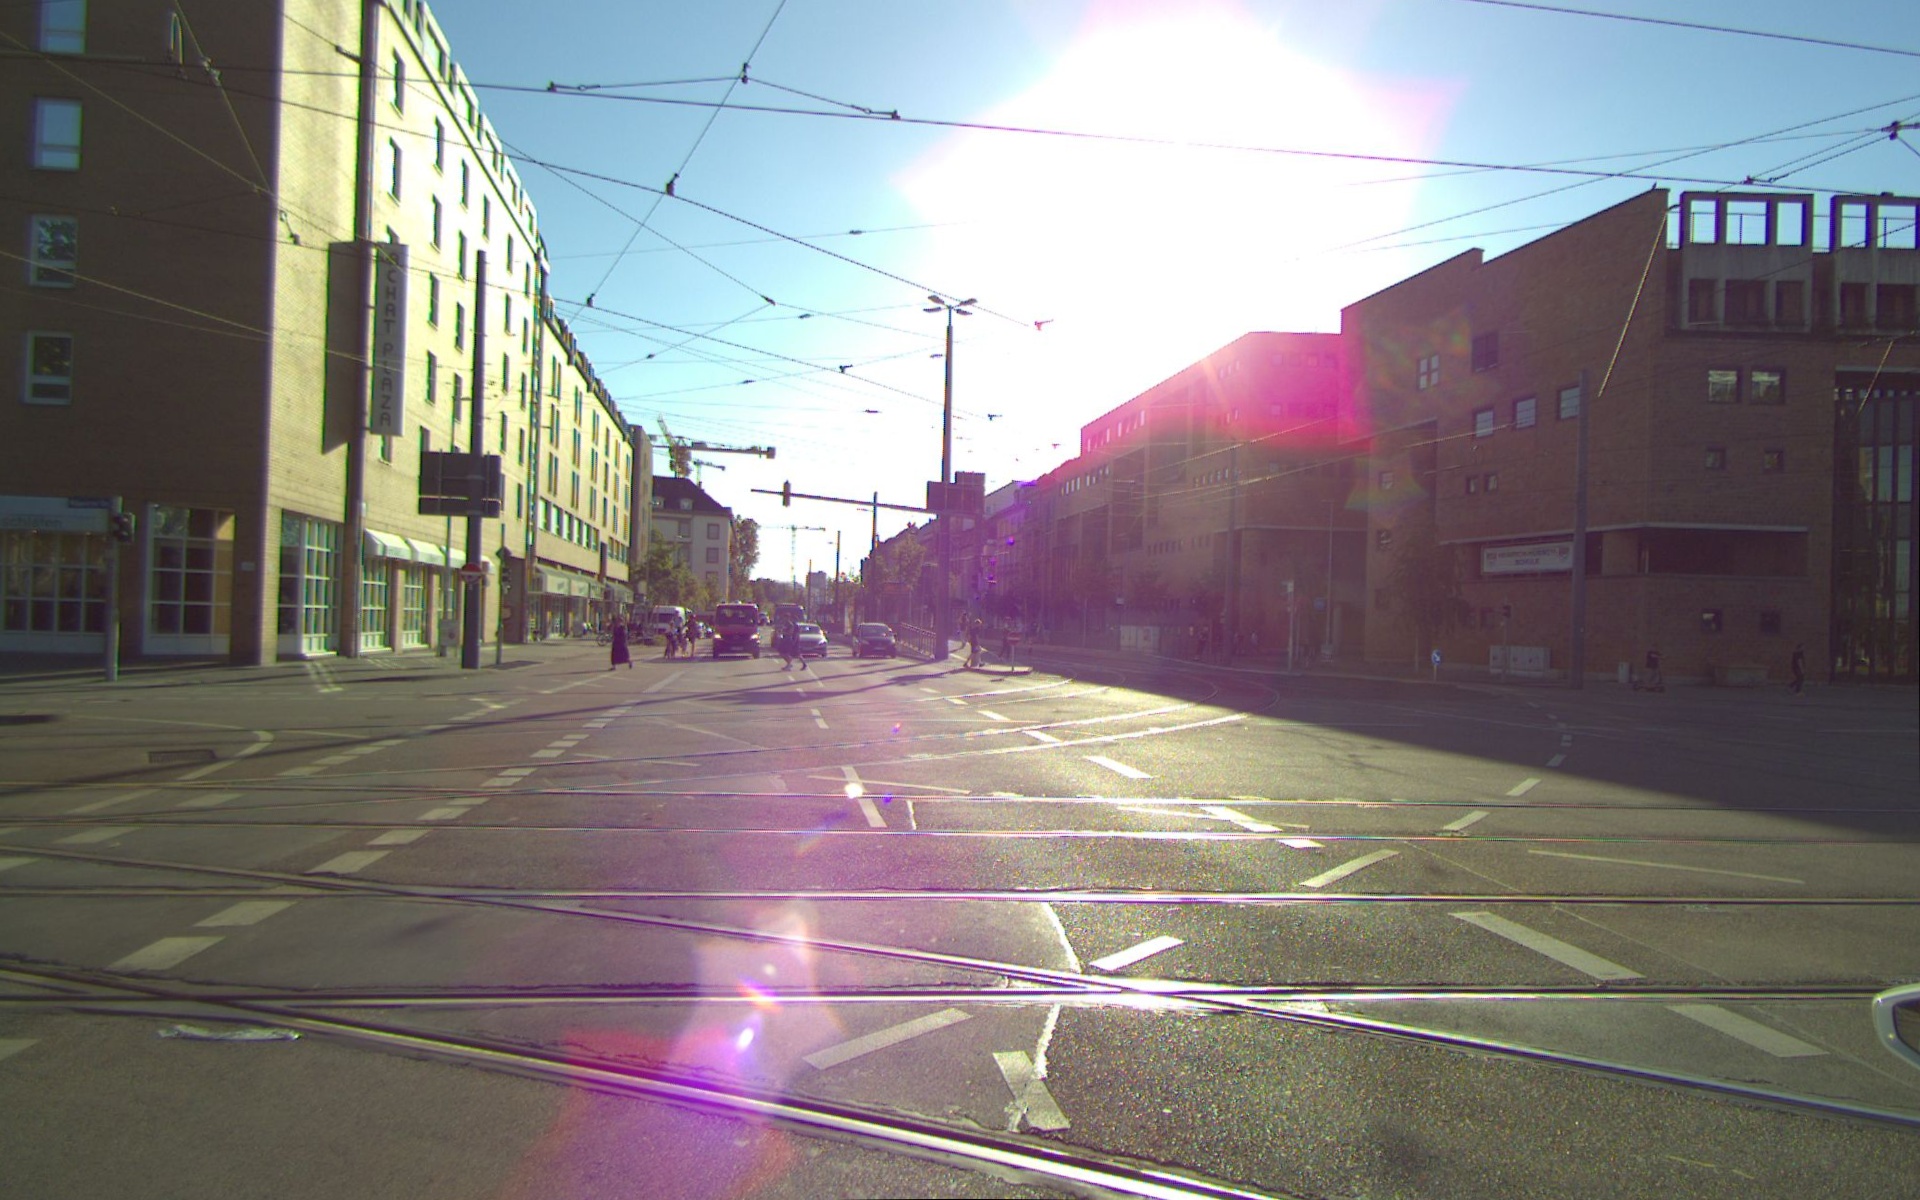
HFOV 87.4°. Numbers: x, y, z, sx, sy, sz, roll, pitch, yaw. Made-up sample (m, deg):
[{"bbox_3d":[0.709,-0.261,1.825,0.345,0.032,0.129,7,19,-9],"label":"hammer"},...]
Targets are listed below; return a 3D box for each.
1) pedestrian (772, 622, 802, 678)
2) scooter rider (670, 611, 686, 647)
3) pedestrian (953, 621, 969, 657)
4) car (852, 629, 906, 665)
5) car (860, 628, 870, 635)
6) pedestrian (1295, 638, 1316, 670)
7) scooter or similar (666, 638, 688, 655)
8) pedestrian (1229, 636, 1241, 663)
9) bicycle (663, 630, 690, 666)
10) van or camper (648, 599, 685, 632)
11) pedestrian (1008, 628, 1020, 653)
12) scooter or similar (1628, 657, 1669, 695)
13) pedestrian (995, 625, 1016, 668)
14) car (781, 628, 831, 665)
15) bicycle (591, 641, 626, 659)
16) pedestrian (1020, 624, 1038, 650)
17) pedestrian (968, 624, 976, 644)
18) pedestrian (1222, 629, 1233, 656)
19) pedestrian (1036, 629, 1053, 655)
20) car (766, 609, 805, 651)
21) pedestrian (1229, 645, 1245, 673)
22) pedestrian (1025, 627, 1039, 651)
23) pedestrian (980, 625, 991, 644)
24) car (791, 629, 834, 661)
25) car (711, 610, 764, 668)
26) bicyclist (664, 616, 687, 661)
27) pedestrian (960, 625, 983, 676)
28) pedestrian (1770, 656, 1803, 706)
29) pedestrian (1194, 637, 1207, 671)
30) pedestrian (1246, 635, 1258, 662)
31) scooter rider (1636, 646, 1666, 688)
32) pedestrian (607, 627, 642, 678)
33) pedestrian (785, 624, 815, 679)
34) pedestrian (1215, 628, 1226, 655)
[{"bbox_3d":[-5.457,1.572,31.681,0.628,1.740,0.778,1,-1,15],"label":"pedestrian"},{"bbox_3d":[-14.164,1.456,50.457,0.523,1.778,0.571,1,-1,11],"label":"scooter rider"},{"bbox_3d":[0.057,1.866,47.993,0.667,1.706,0.575,2,-1,-8],"label":"pedestrian"},{"bbox_3d":[-3.710,2.106,45.492,1.733,1.467,3.988,2,-1,-14],"label":"car"},{"bbox_3d":[-21.246,6.995,223.741,1.823,1.477,4.148,2,-1,-11],"label":"car"},{"bbox_3d":[17.033,2.664,49.531,0.702,1.559,0.851,1,-1,-4],"label":"pedestrian"},{"bbox_3d":[-14.191,2.323,50.393,0.534,0.842,1.240,1,-2,12],"label":"scooter or similar"},{"bbox_3d":[18.150,3.264,66.362,0.527,1.779,0.695,1,-1,-2],"label":"pedestrian"},{"bbox_3d":[-11.824,1.985,41.908,0.917,1.461,2.098,2,-2,-13],"label":"bicycle"},{"bbox_3d":[-20.883,1.077,71.599,1.965,2.199,5.604,2,0,-11],"label":"van or camper"},{"bbox_3d":[3.714,2.792,68.922,0.648,1.694,0.670,2,-1,-16],"label":"pedestrian"},{"bbox_3d":[24.944,2.753,36.389,0.521,1.335,1.127,2,-2,-21],"label":"scooter or similar"},{"bbox_3d":[1.841,1.878,40.696,0.630,1.740,0.776,2,-1,-11],"label":"pedestrian"},{"bbox_3d":[-7.120,2.111,46.272,1.860,1.553,3.988,2,-1,-14],"label":"car"},{"bbox_3d":[-19.731,2.795,56.365,1.695,0.993,0.642,1,-2,6],"label":"bicycle"},{"bbox_3d":[4.700,2.516,68.366,0.876,1.694,1.093,2,-1,-14],"label":"pedestrian"},{"bbox_3d":[1.065,2.956,87.767,0.498,1.755,0.650,2,-1,-13],"label":"pedestrian"},{"bbox_3d":[18.058,2.878,67.842,0.528,1.779,0.421,2,-1,-9],"label":"pedestrian"},{"bbox_3d":[5.531,2.762,65.898,0.876,1.694,0.670,2,-1,-14],"label":"pedestrian"},{"bbox_3d":[-10.722,1.829,61.539,2.017,2.389,4.908,2,-2,-13],"label":"car"},{"bbox_3d":[18.029,3.833,65.362,0.726,1.779,0.690,2,-2,-29],"label":"pedestrian"},{"bbox_3d":[4.745,2.556,66.037,0.672,1.503,0.827,2,-2,-11],"label":"pedestrian"},{"bbox_3d":[2.137,2.881,84.186,0.663,1.582,0.904,2,-1,-13],"label":"pedestrian"},{"bbox_3d":[-7.972,2.403,53.958,1.860,1.553,3.988,2,-1,-14],"label":"car"},{"bbox_3d":[-9.710,1.661,43.622,2.050,2.319,5.250,2,-2,-14],"label":"car"},{"bbox_3d":[-11.792,1.594,41.660,0.804,1.810,0.814,2,-2,-14],"label":"bicyclist"},{"bbox_3d":[0.400,1.729,34.622,0.614,1.724,0.748,2,-1,-13],"label":"pedestrian"},{"bbox_3d":[29.972,2.920,36.424,0.809,1.739,0.663,0,-2,30],"label":"pedestrian"},{"bbox_3d":[11.091,2.471,46.312,0.481,1.559,0.551,1,-1,2],"label":"pedestrian"},{"bbox_3d":[19.151,3.196,65.957,0.527,1.779,0.695,1,-1,-2],"label":"pedestrian"},{"bbox_3d":[24.976,2.410,36.306,0.500,1.480,0.719,2,-2,-20],"label":"scooter rider"},{"bbox_3d":[-10.457,1.634,31.312,0.862,1.574,0.540,3,-2,-39],"label":"pedestrian"},{"bbox_3d":[-5.189,1.669,32.573,0.628,1.740,0.778,1,-1,15],"label":"pedestrian"},{"bbox_3d":[17.395,2.743,67.074,0.529,1.779,0.463,2,-1,-14],"label":"pedestrian"}]
